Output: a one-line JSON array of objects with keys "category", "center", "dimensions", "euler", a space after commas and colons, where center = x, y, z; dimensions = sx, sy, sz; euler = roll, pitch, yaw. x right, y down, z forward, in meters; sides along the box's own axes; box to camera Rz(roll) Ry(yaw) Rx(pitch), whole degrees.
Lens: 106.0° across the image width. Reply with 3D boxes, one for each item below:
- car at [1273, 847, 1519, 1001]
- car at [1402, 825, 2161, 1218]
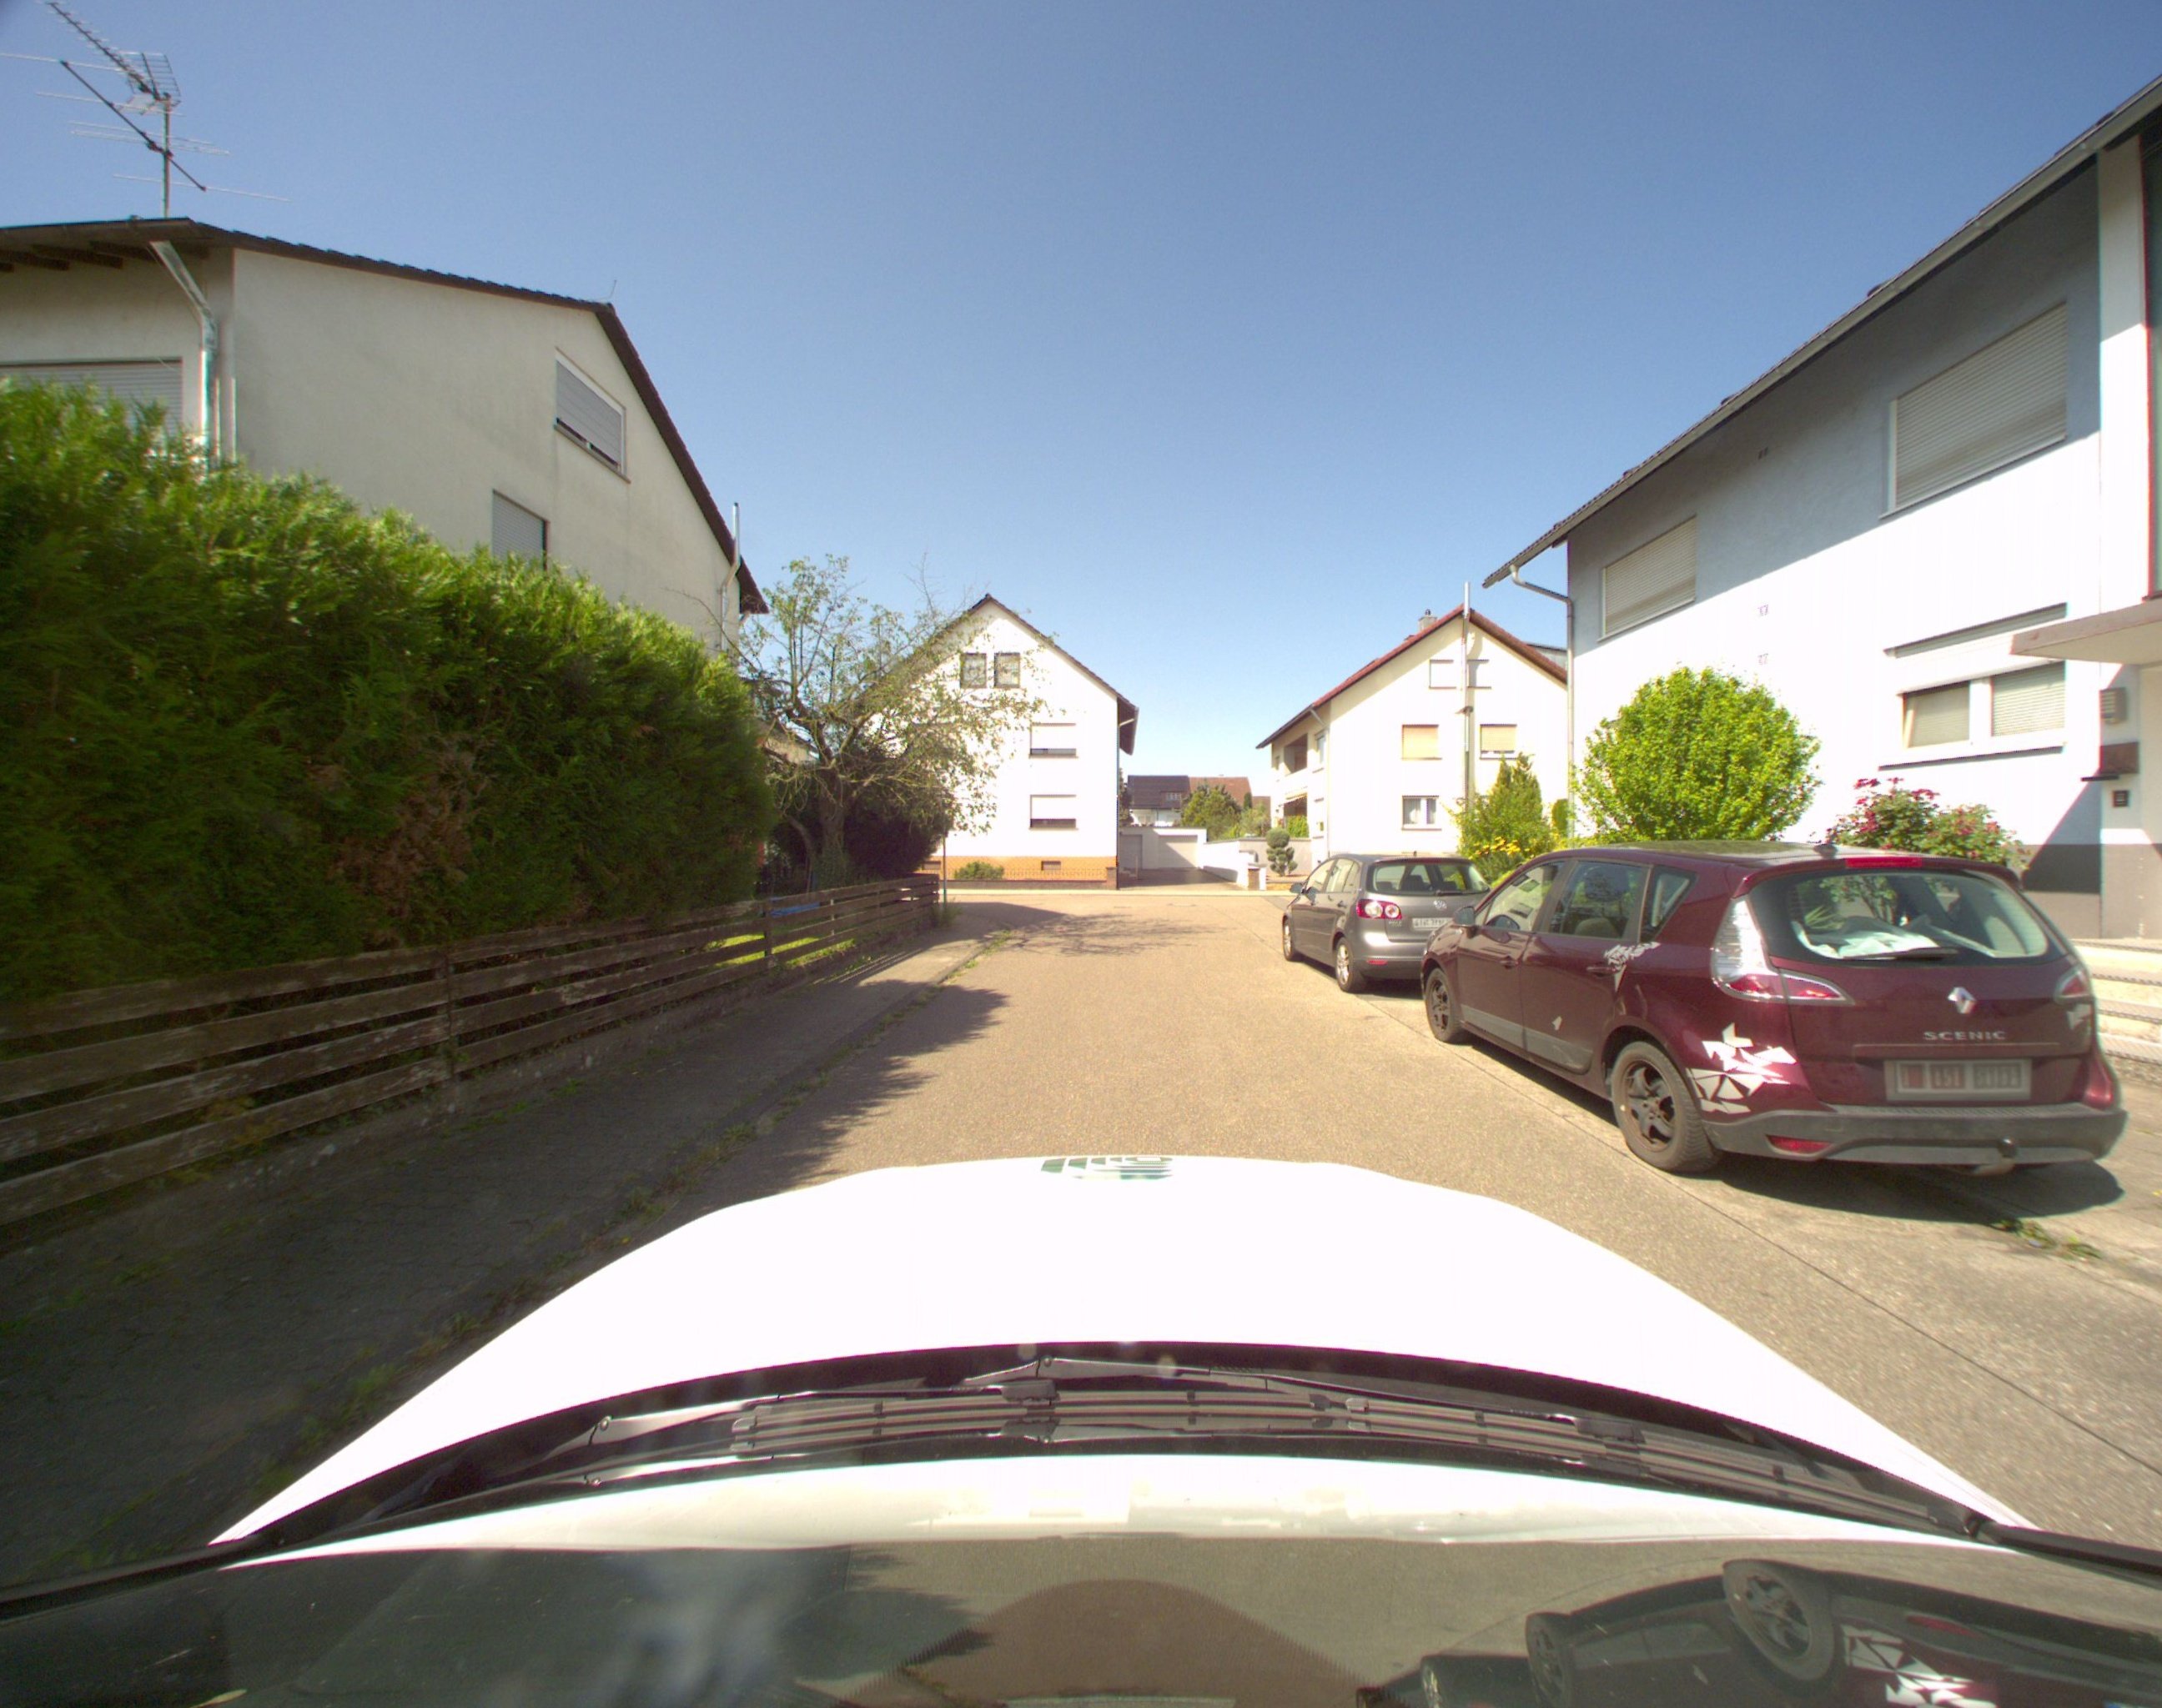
[{"category": "car", "center": [3.731, 0.707, 10.435], "dimensions": [1.639, 1.546, 4.049], "euler": [2, 0, 1]}, {"category": "car", "center": [3.653, 0.667, 5.387], "dimensions": [1.638, 1.581, 4.151], "euler": [0, 0, 3]}]
